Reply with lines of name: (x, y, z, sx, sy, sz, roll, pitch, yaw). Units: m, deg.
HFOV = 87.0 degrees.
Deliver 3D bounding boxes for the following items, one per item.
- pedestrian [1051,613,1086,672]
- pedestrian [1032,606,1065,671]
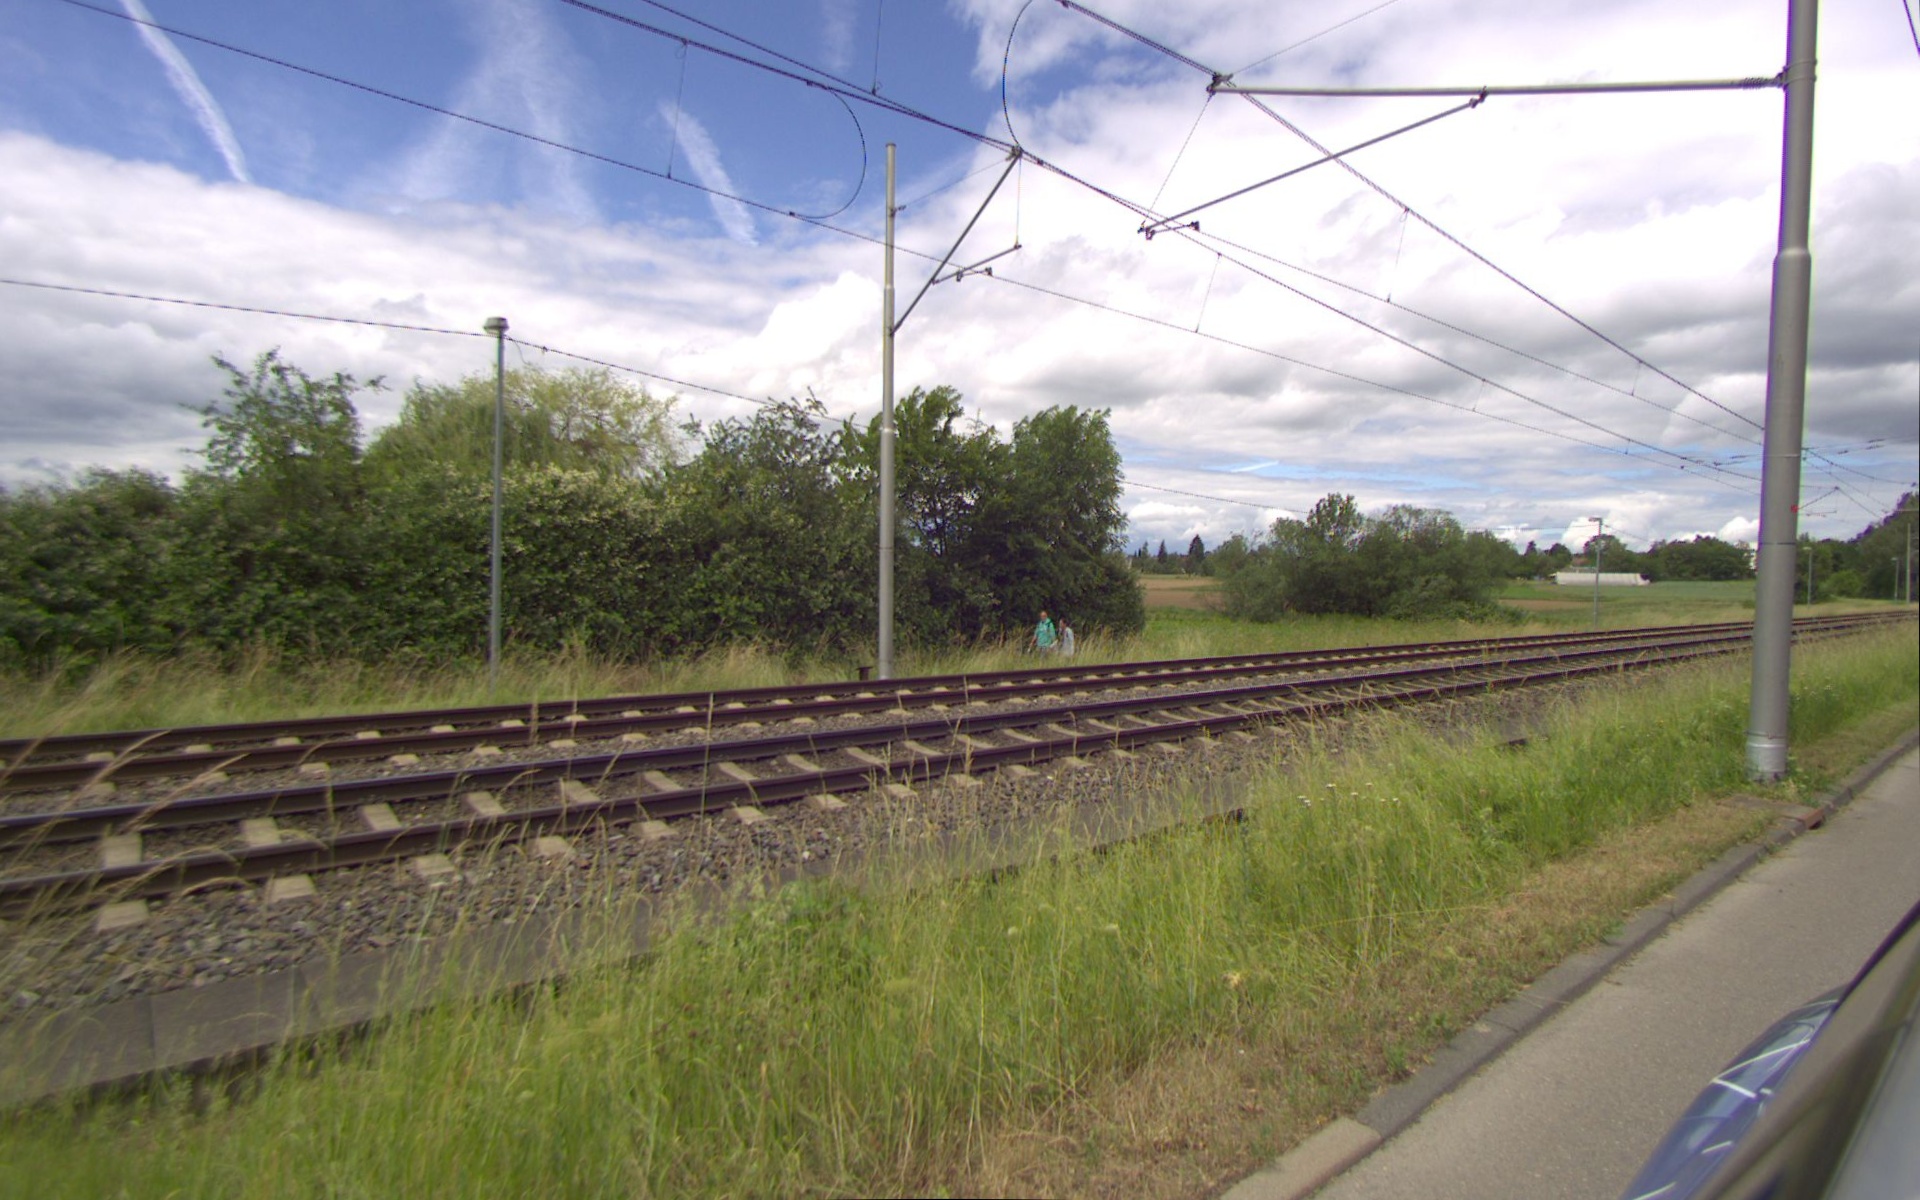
pedestrian: (2.702, 1.048, 25.208, 0.652, 1.449, 0.601, 0, -1, -22)
pedestrian: (2.278, 0.984, 26.031, 0.572, 1.643, 0.619, 0, -1, -29)
